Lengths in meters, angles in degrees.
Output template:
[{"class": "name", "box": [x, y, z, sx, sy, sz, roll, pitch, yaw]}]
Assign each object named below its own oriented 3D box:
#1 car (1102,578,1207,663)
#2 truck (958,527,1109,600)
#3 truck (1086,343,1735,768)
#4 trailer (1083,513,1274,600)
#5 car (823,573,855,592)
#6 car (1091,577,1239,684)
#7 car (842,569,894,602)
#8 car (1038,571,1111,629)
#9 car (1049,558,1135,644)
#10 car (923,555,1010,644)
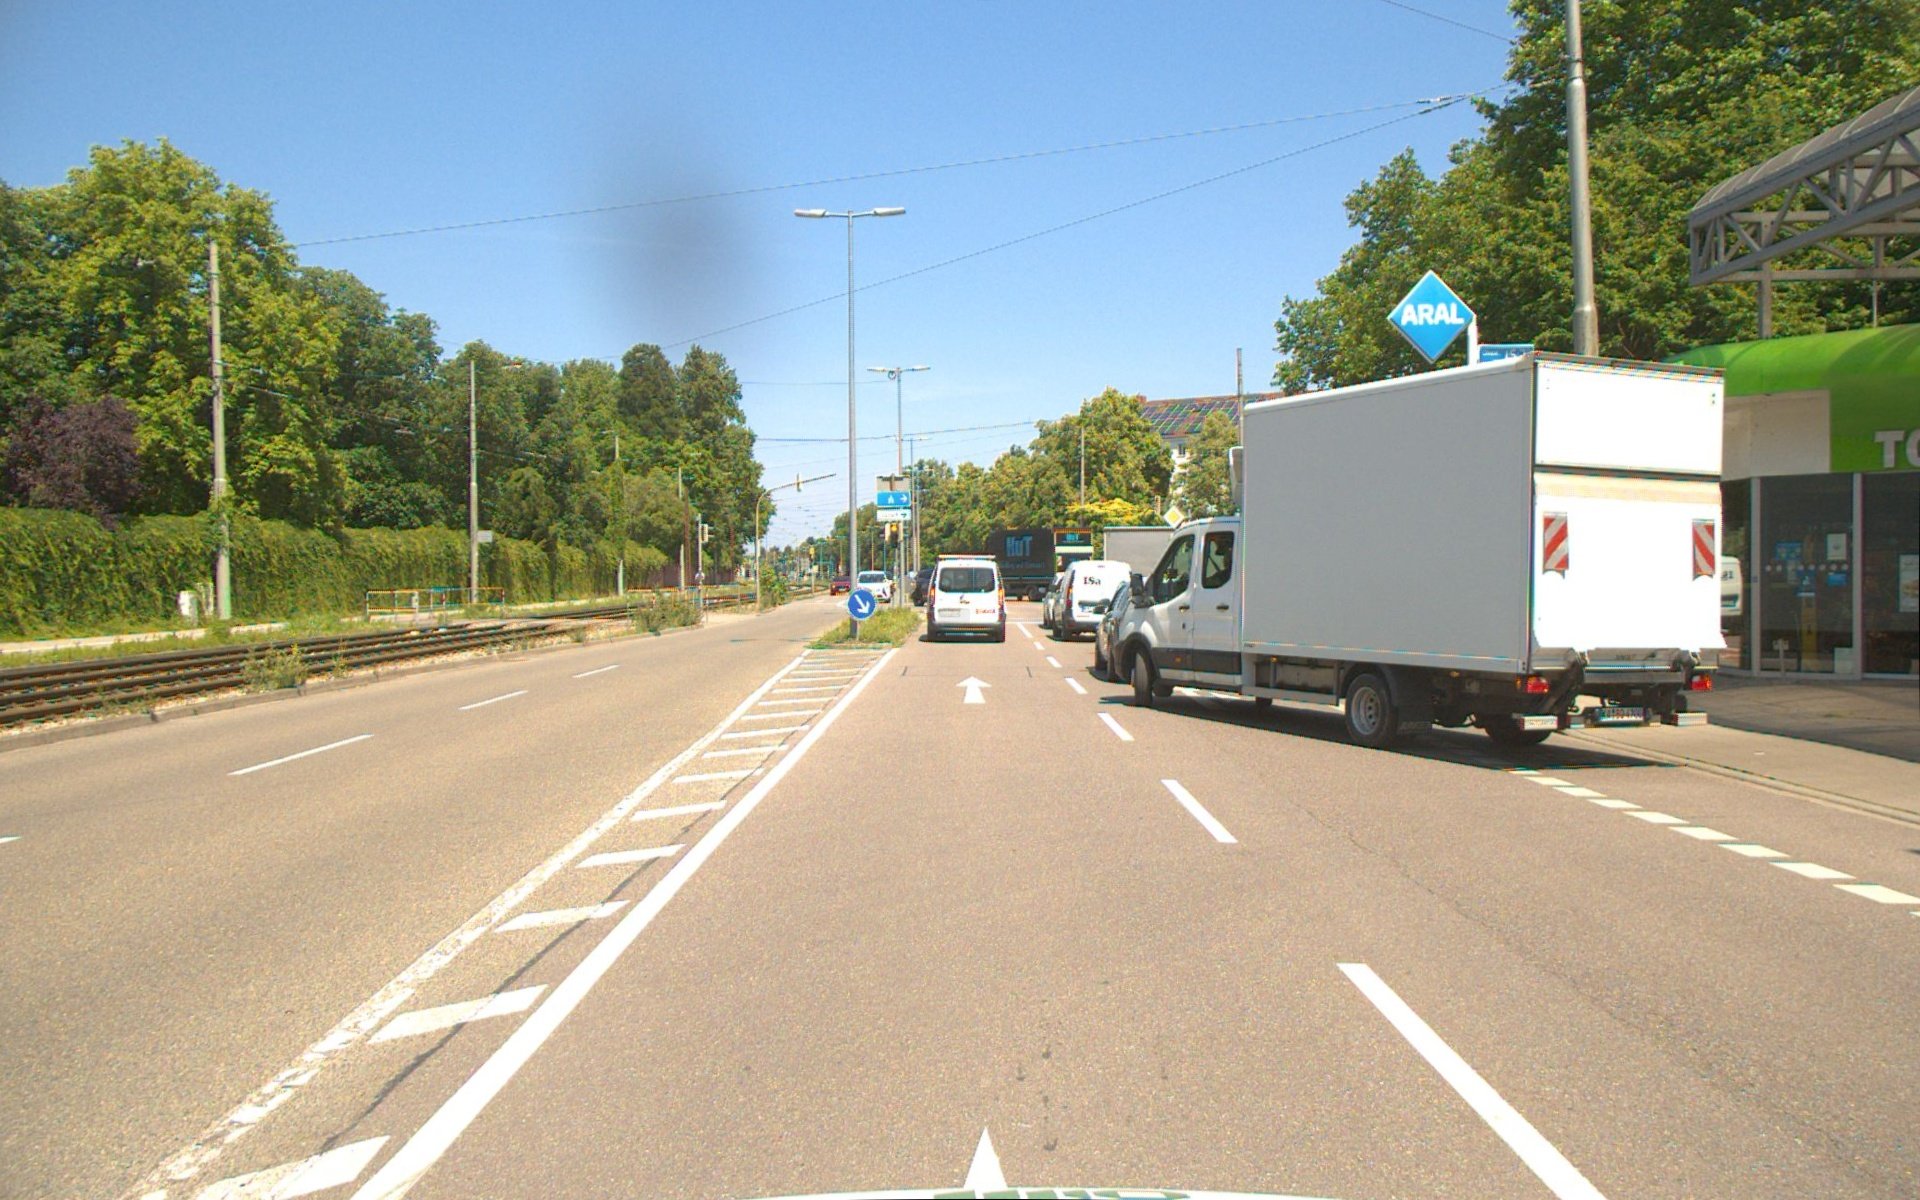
[{"class": "car", "box": [3.607, 0.347, 31.150, 1.574, 1.477, 3.521, 1, 0, 1]}, {"class": "truck", "box": [3.821, -1.931, 88.463, 3.547, 3.696, 8.700, -1, 1, -35]}, {"class": "truck", "box": [4.158, -0.420, 17.504, 2.387, 3.450, 7.779, -1, 1, -22]}, {"class": "trailer", "box": [10.904, -2.124, 82.729, 8.778, 4.121, 3.534, 0, 1, 29]}, {"class": "car", "box": [-9.074, -1.304, 124.234, 1.943, 1.382, 4.539, -1, 1, 1]}, {"class": "car", "box": [3.031, 0.398, 25.255, 1.758, 1.475, 4.418, 0, 1, 1]}, {"class": "car", "box": [-4.785, -0.745, 85.368, 1.959, 1.645, 4.441, -1, 1, -13]}, {"class": "car", "box": [3.141, -0.035, 46.041, 1.720, 1.512, 4.000, -1, 1, 0]}, {"class": "car", "box": [3.000, -0.002, 38.167, 1.675, 1.862, 4.014, -1, 1, 0]}, {"class": "car", "box": [0.112, -0.040, 37.312, 1.828, 1.868, 3.848, -1, 1, -1]}]
